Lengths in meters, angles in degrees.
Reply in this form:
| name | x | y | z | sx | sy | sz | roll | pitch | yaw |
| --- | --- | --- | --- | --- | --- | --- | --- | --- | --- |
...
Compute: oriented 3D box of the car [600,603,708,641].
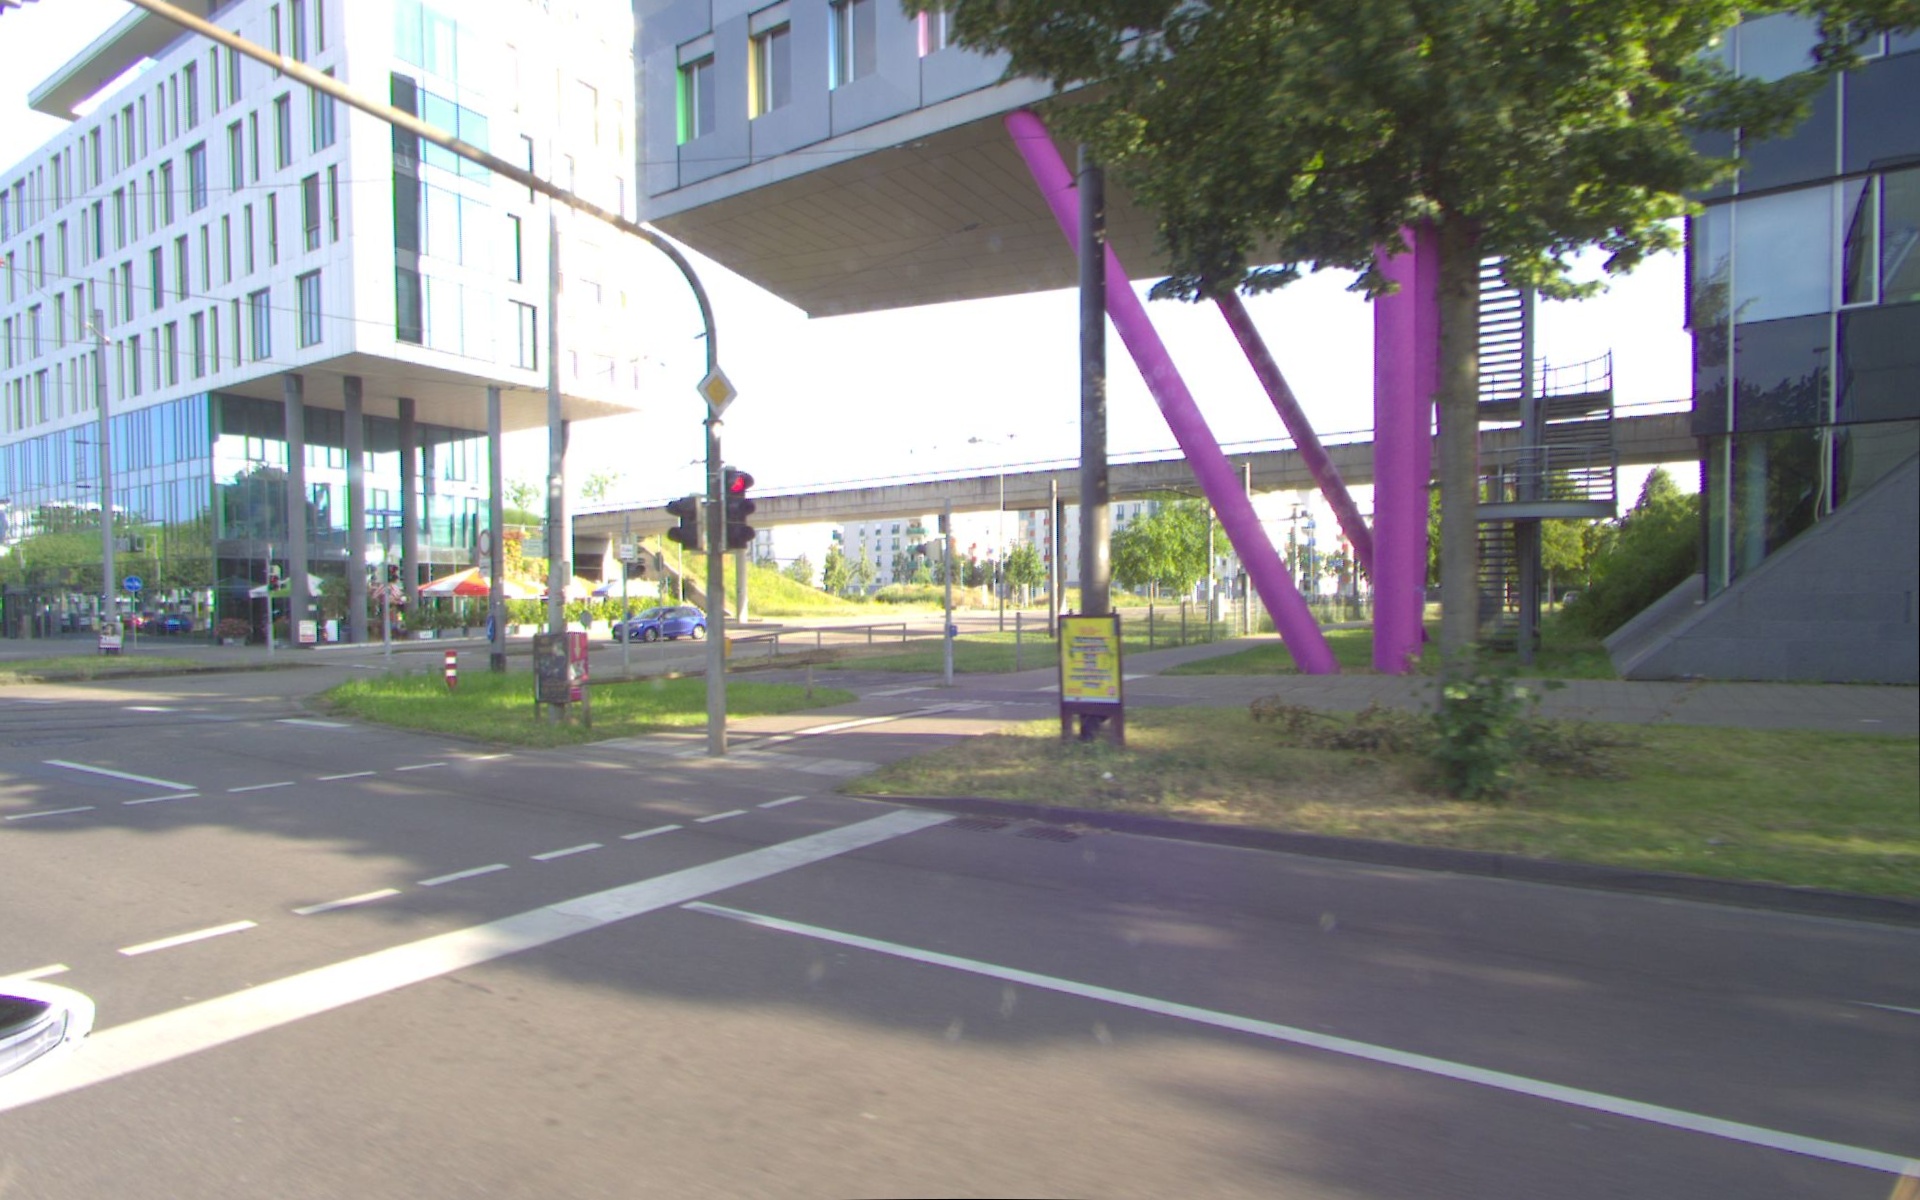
| name | x | y | z | sx | sy | sz | roll | pitch | yaw |
| --- | --- | --- | --- | --- | --- | --- | --- | --- | --- |
| car | -12.841 | 0.901 | 42.233 | 1.832 | 1.443 | 4.176 | 0 | 1 | 31 |
